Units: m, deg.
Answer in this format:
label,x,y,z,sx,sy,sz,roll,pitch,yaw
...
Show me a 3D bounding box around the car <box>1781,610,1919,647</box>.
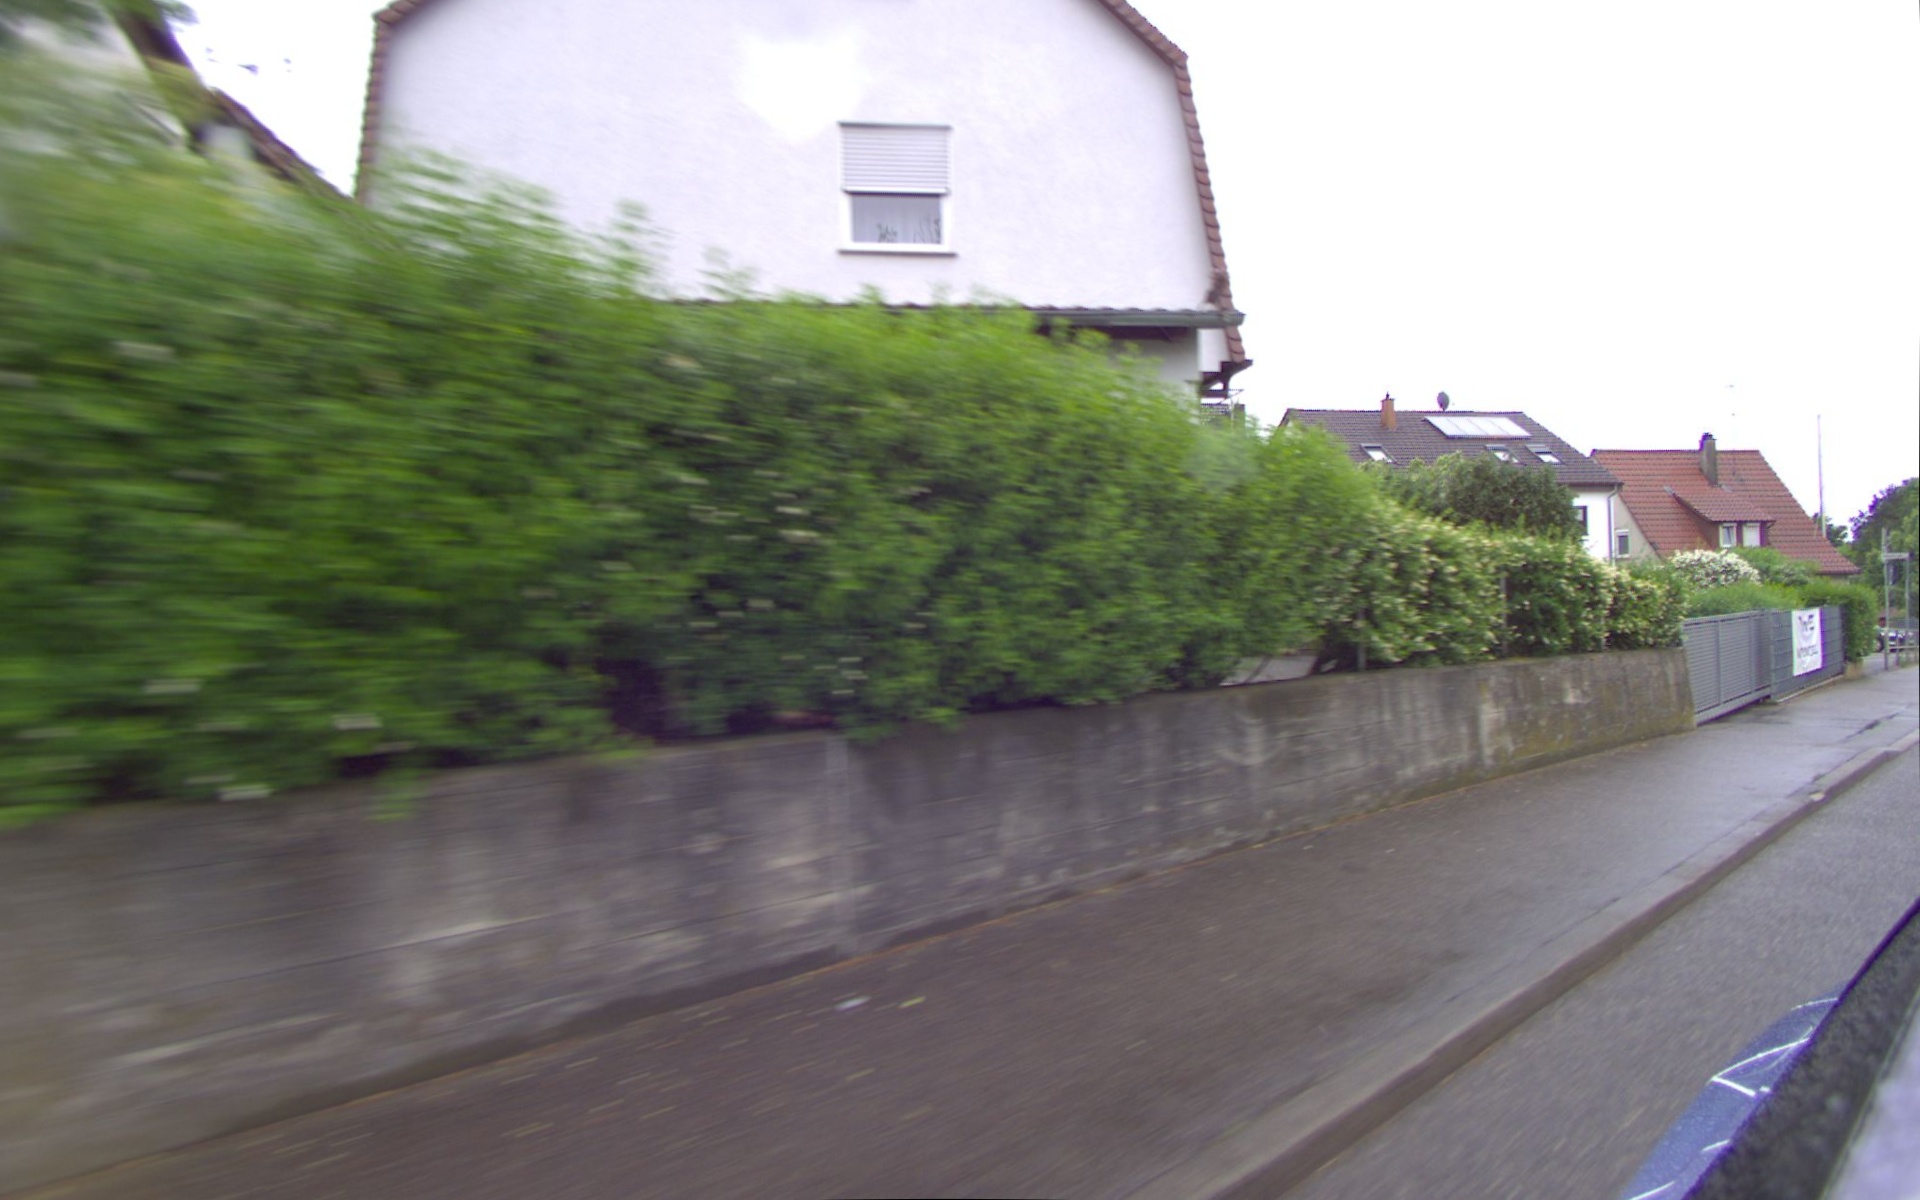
label,x,y,z,sx,sy,sz,roll,pitch,yaw
car,36.866,1.220,41.487,1.958,1.402,4.579,2,-3,-21
